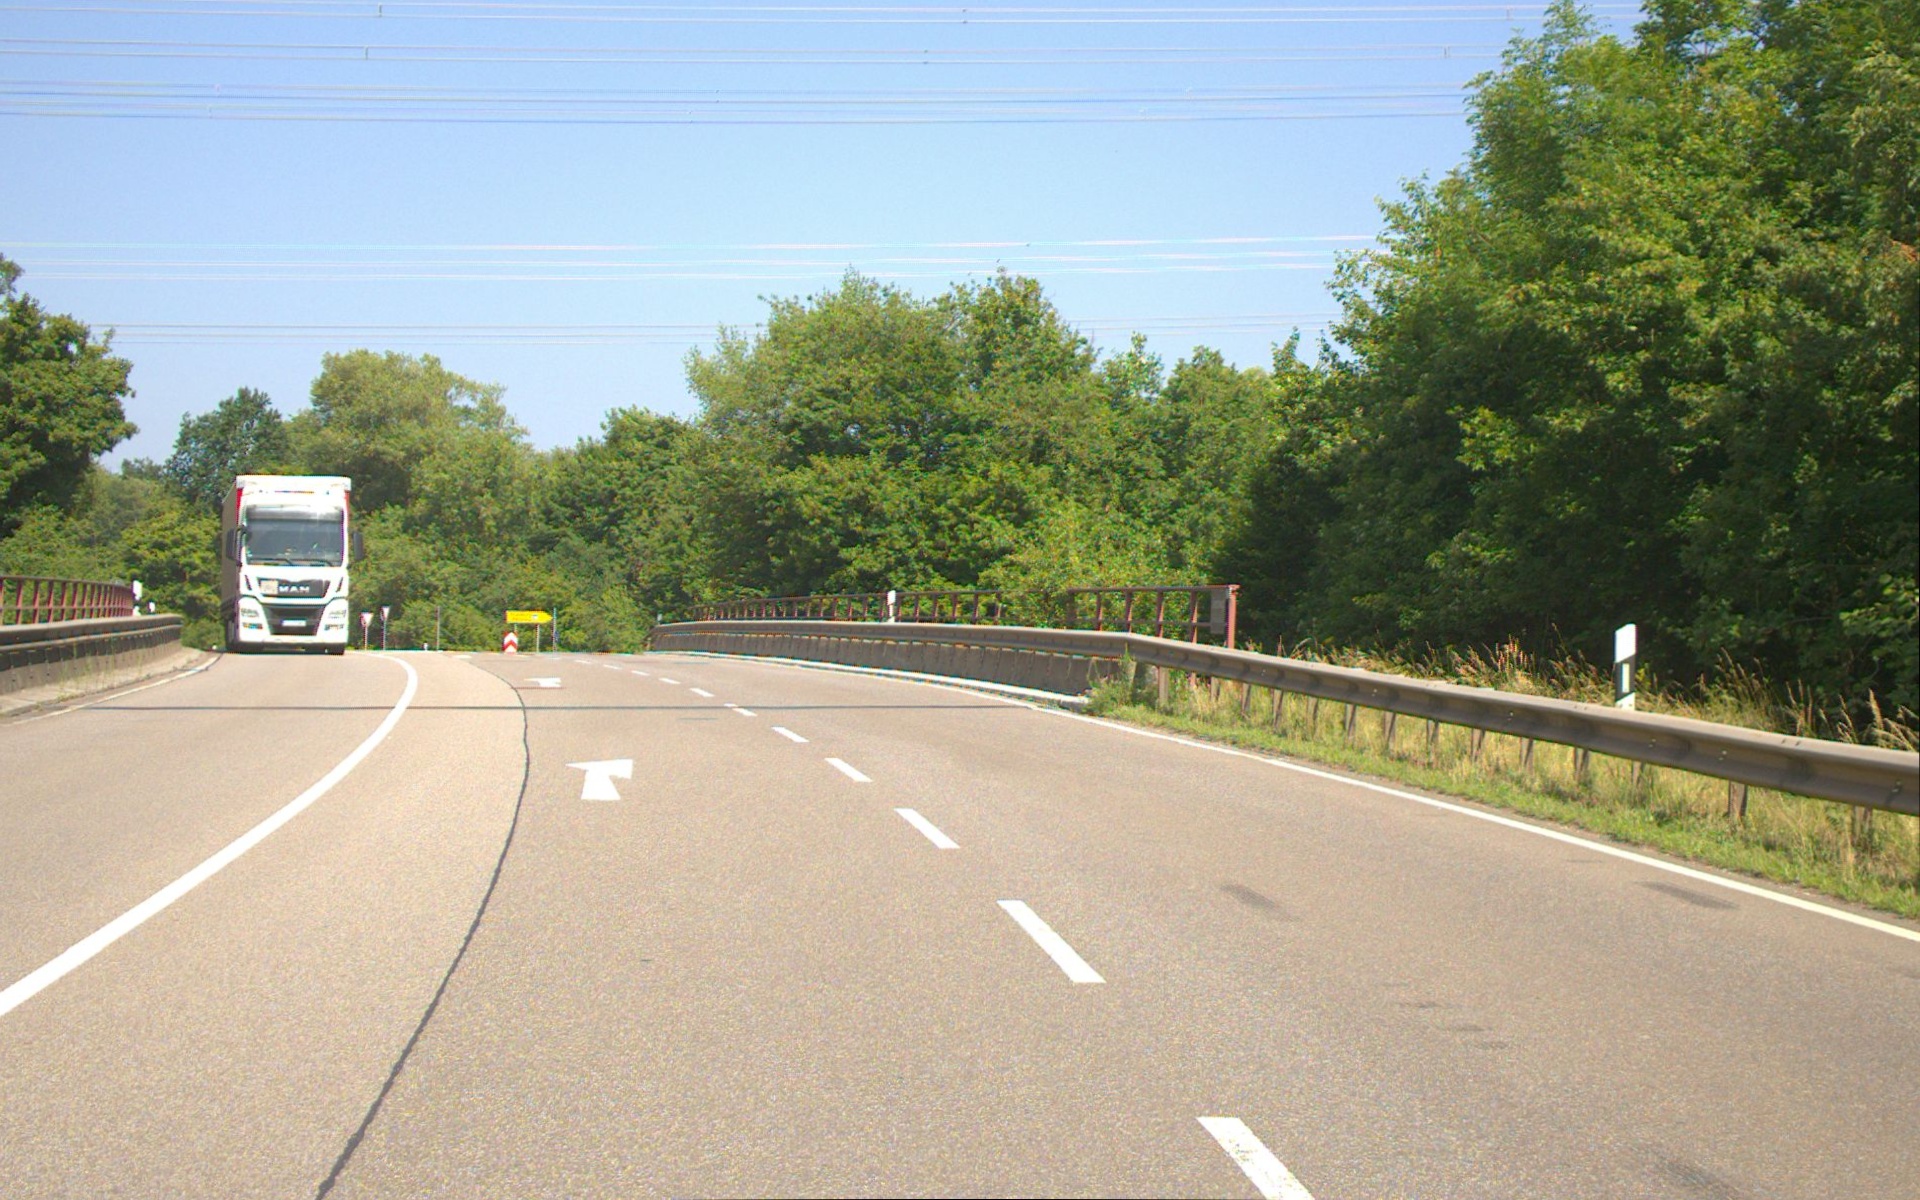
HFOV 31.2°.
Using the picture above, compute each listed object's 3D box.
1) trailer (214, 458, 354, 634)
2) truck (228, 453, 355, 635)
[{"bbox_3d":[-17.062,-1.232,86.112,2.767,4.048,14.204,0,0,-14],"label":"trailer"},{"bbox_3d":[-15.340,-1.211,79.056,2.768,4.020,5.856,0,-1,-11],"label":"truck"}]
